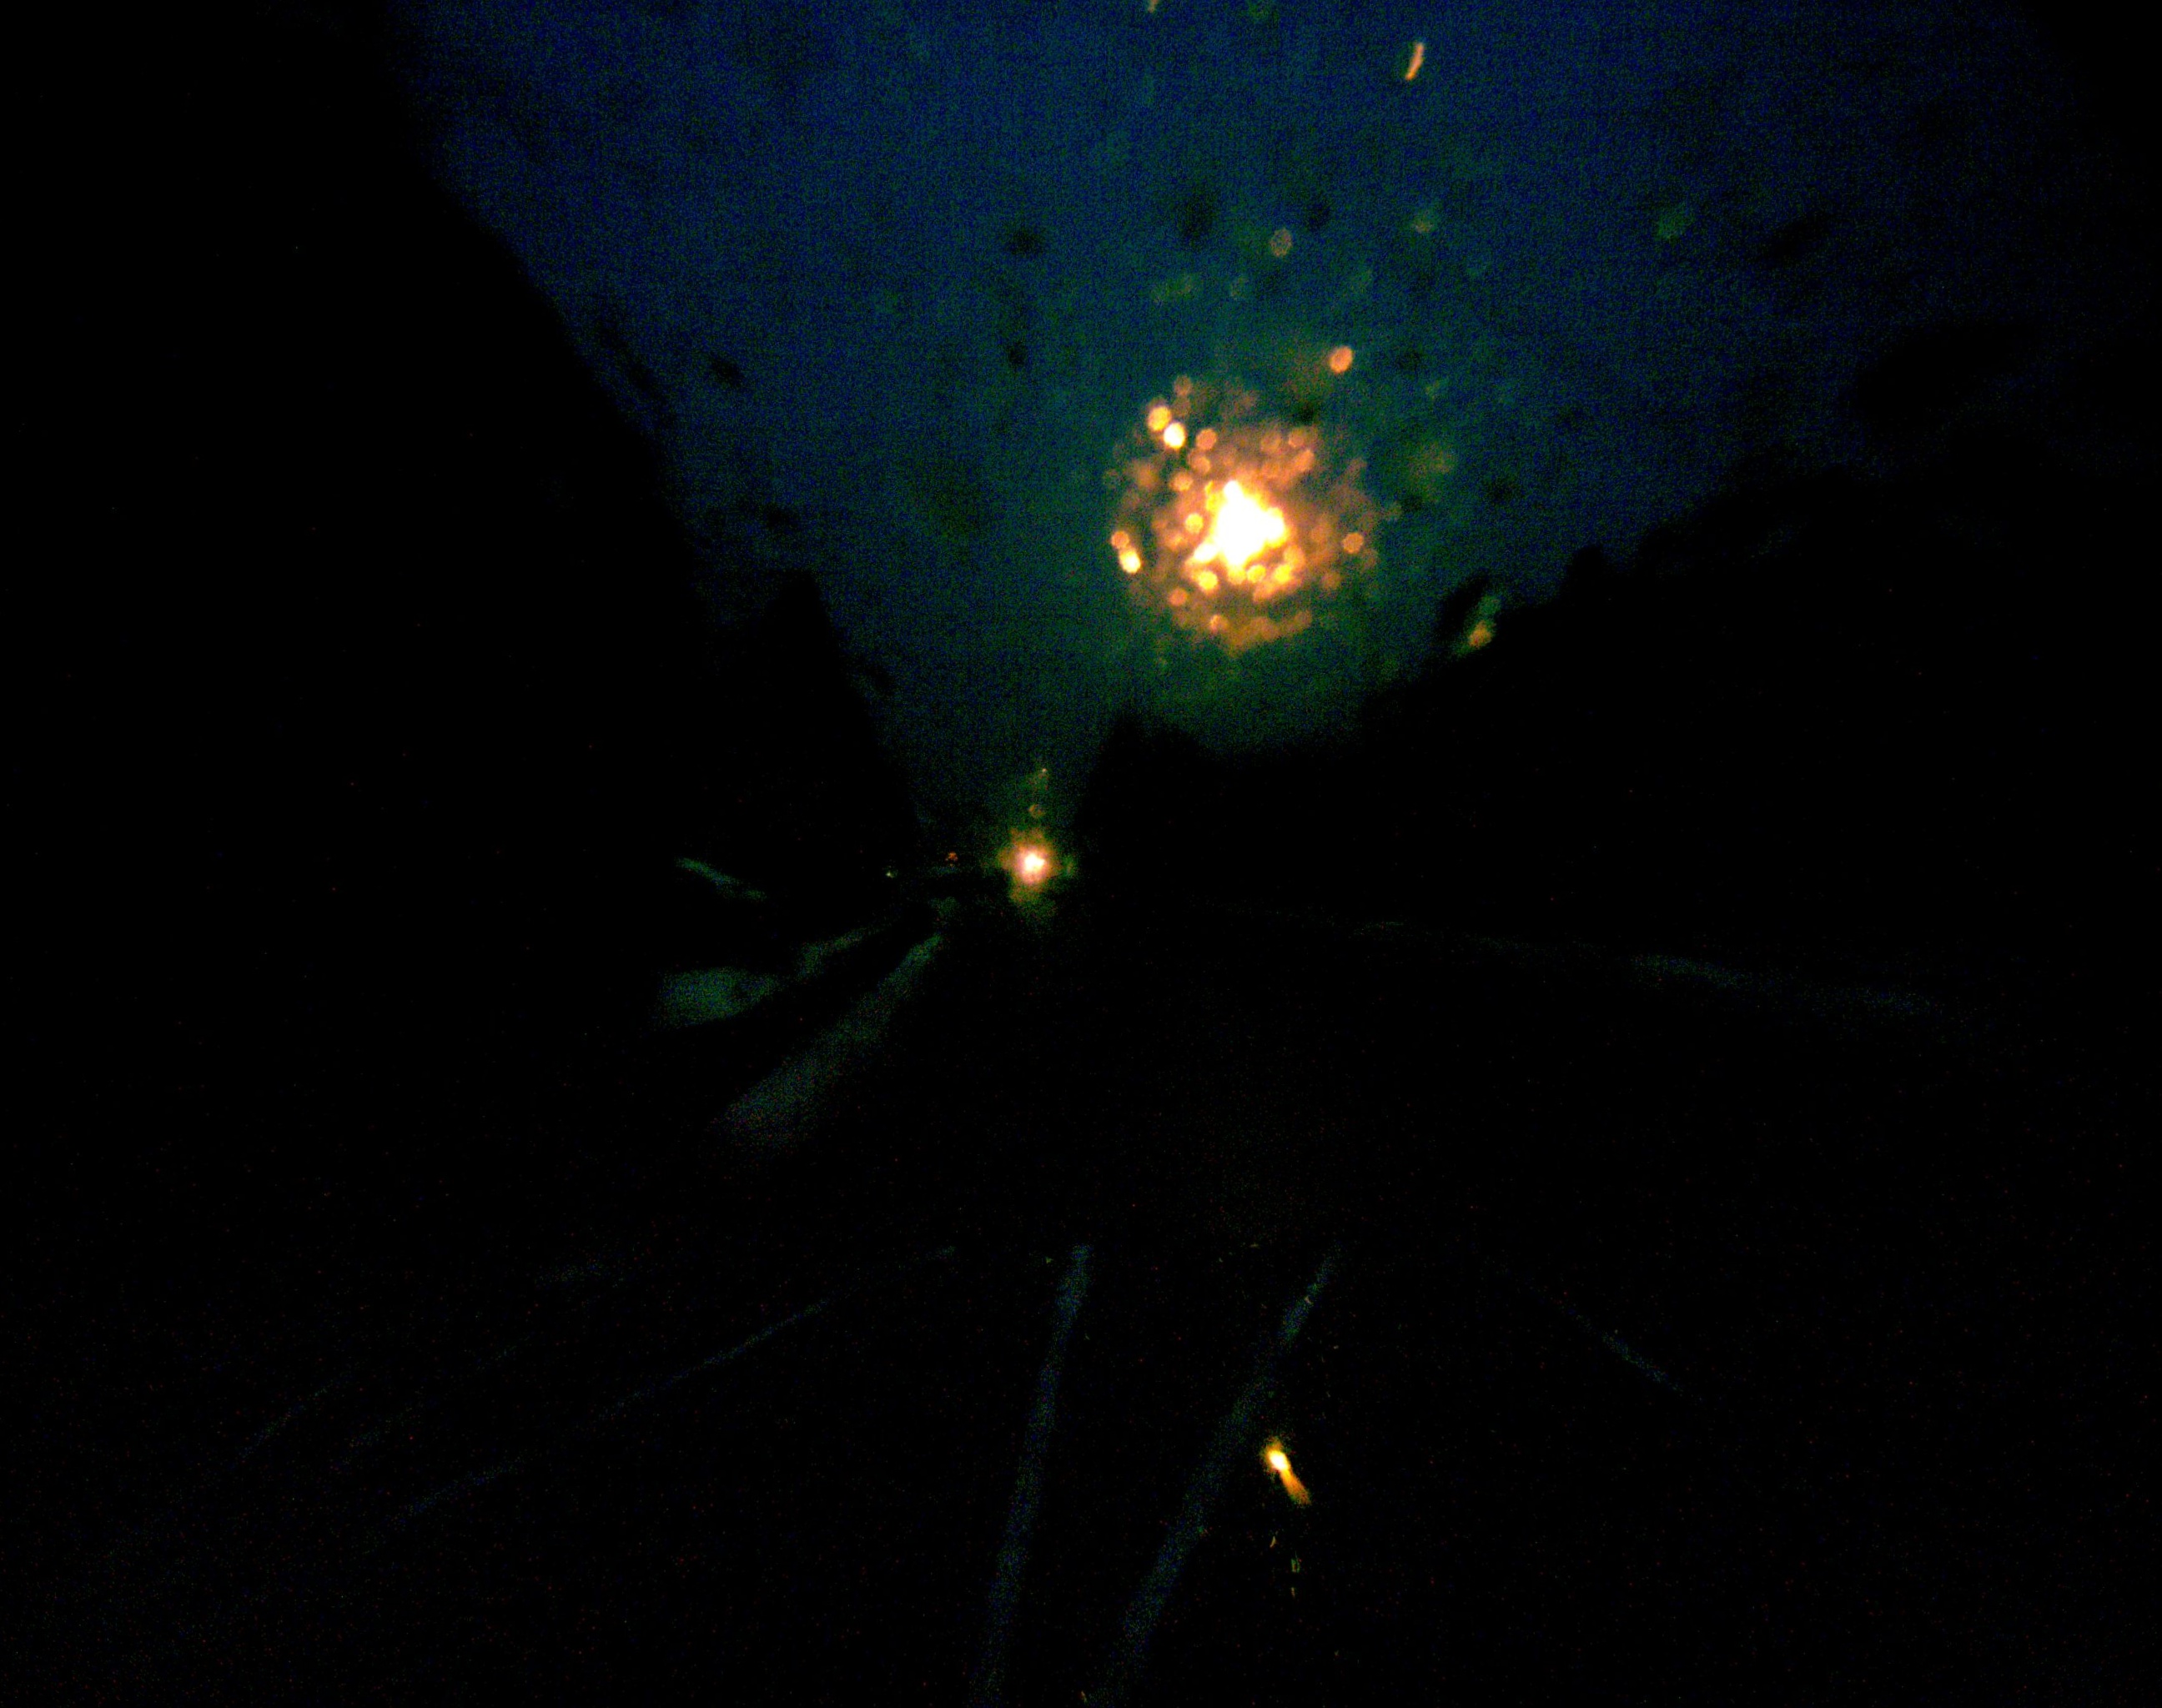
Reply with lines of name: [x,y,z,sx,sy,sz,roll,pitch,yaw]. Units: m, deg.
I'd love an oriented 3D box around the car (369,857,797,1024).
car: [-5.764,0.918,9.481,4.003,1.528,1.997,-3,0,-18]
